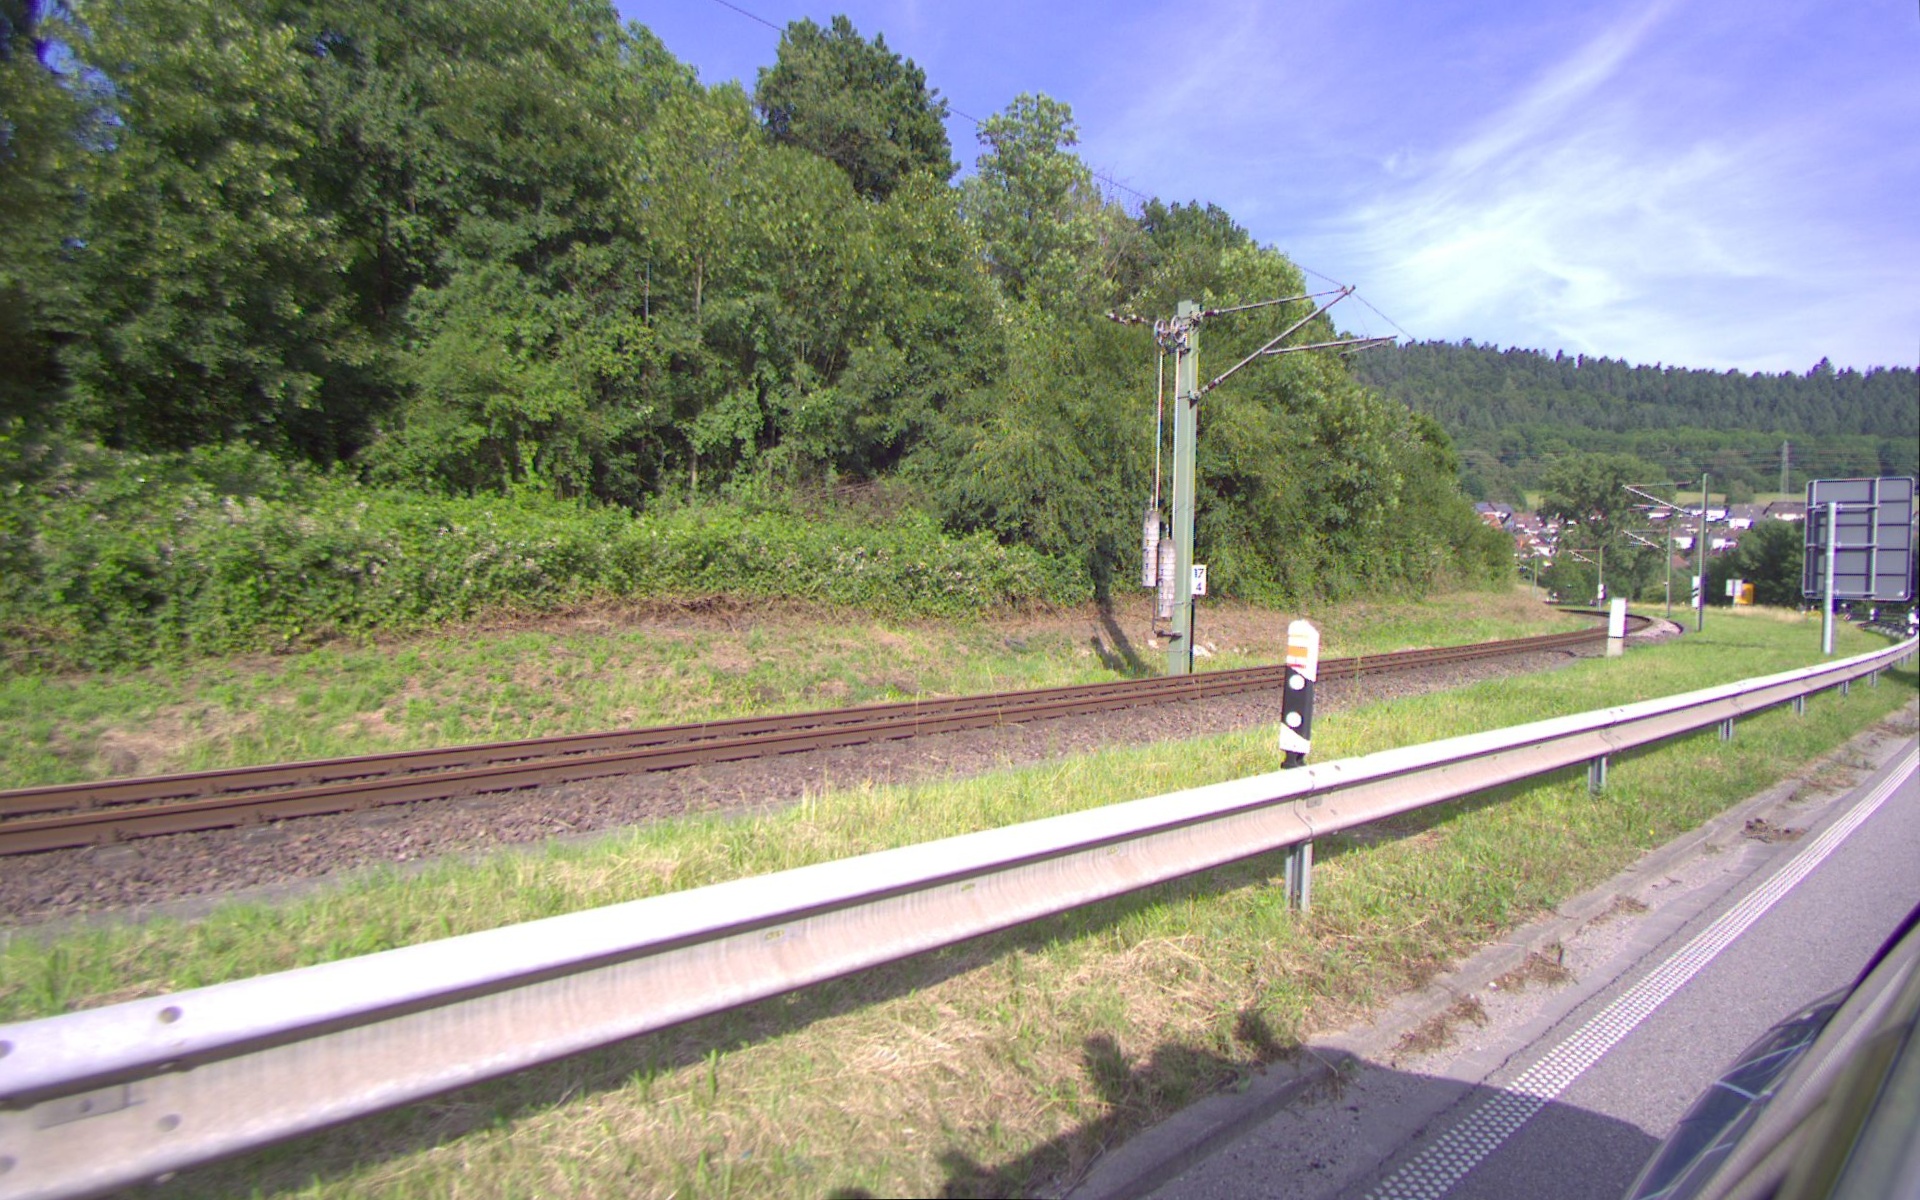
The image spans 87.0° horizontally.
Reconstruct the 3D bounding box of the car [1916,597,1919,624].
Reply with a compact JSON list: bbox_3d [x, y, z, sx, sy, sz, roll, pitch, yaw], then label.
[{"bbox_3d":[58.326,0.657,60.141,1.865,1.613,3.994,1,0,39],"label":"car"}]

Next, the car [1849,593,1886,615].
[{"bbox_3d":[69.398,0.258,77.444,1.865,1.613,3.995,1,1,39],"label":"car"}]
